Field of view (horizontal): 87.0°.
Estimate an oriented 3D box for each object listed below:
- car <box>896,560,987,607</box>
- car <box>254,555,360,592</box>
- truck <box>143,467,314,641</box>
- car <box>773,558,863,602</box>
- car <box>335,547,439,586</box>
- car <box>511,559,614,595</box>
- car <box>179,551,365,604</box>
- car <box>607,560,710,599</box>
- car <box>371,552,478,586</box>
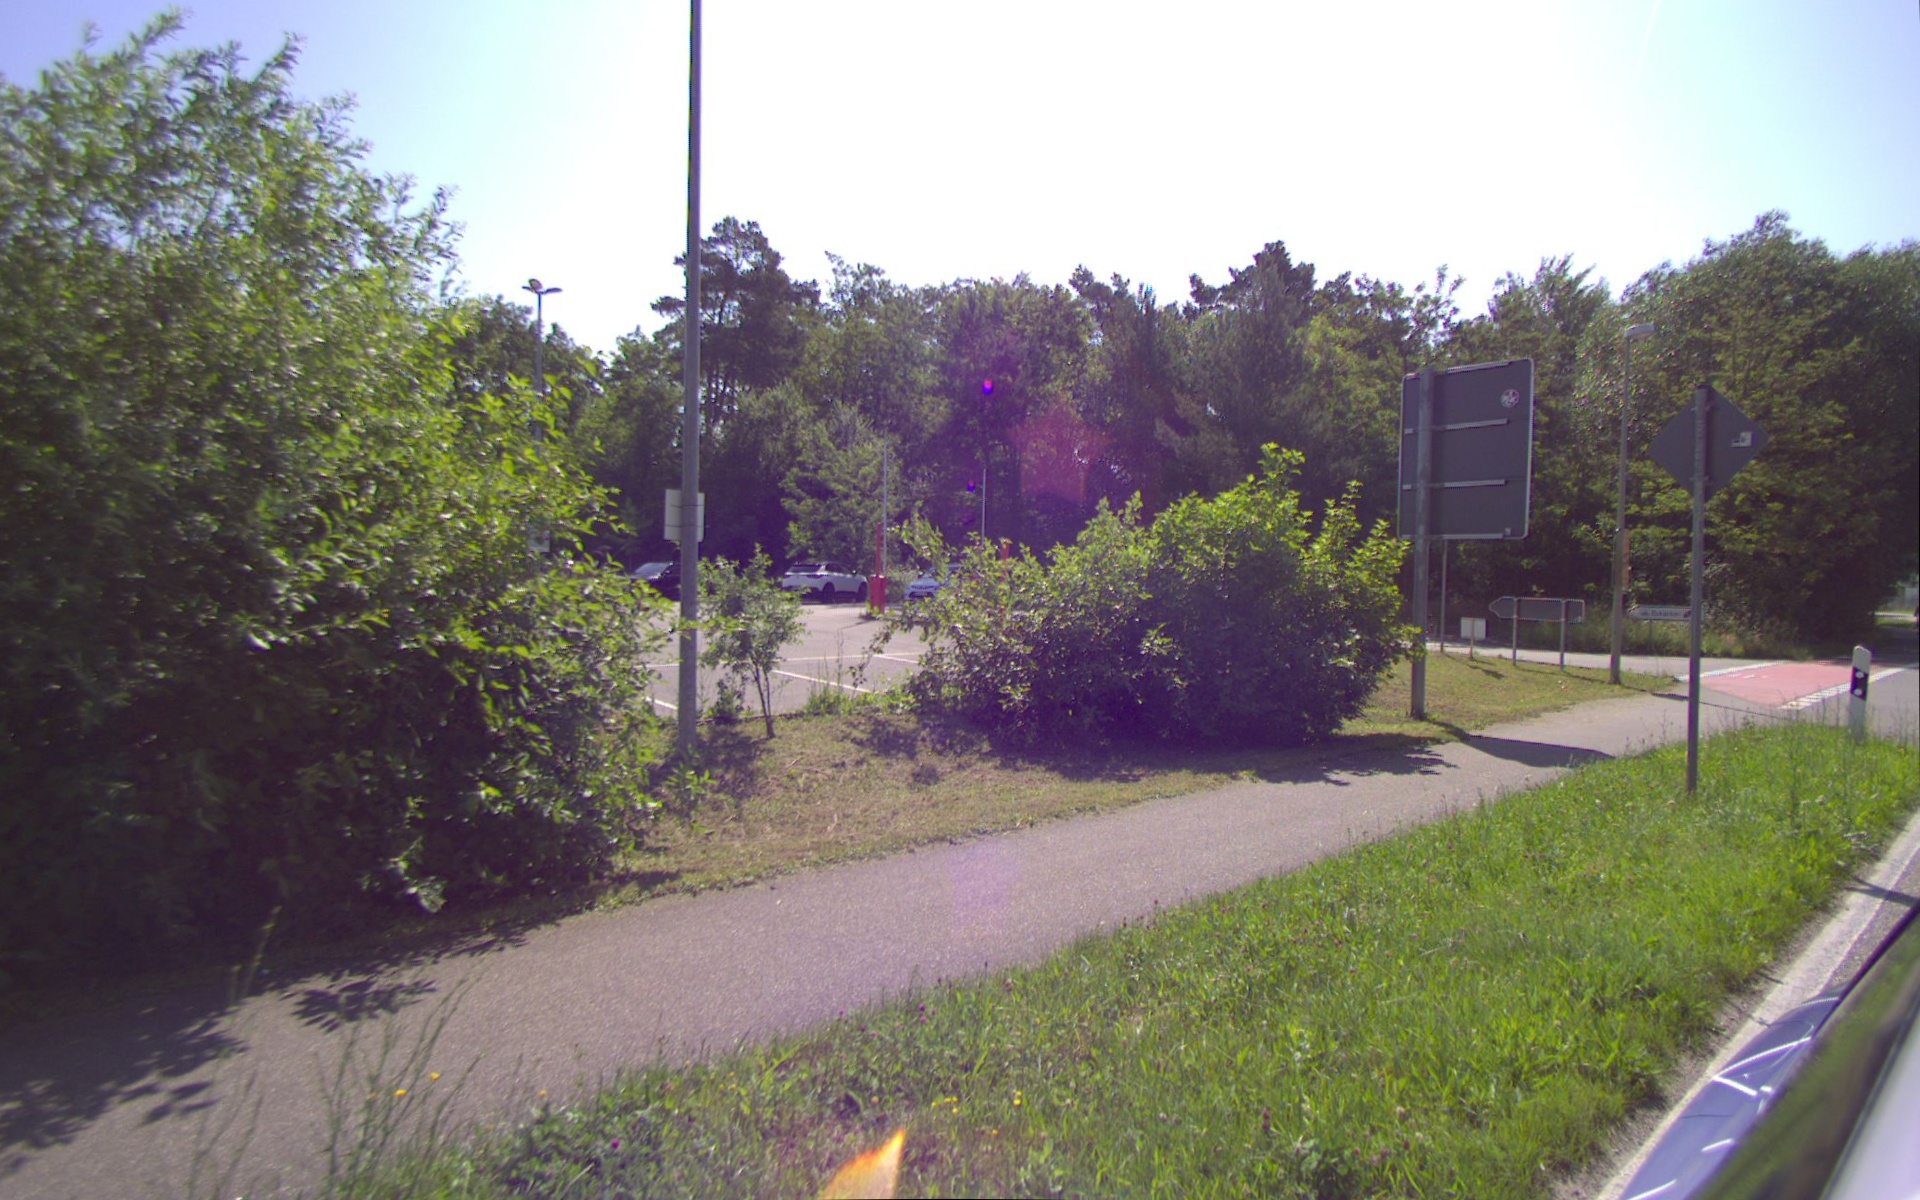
[{"bbox_3d":[-0.585,-0.615,36.844,1.740,1.549,4.342,2,2,22],"label":"car"},{"bbox_3d":[-32.253,-1.302,50.099,2.049,1.732,3.969,2,2,24],"label":"car"},{"bbox_3d":[-13.320,-0.812,18.242,2.164,2.637,5.612,0,2,-39],"label":"truck"},{"bbox_3d":[-5.309,-0.776,38.243,1.740,1.549,3.638,2,2,22],"label":"car"},{"bbox_3d":[-27.457,-1.597,48.627,2.049,1.732,3.969,2,2,24],"label":"car"},{"bbox_3d":[-17.573,-1.026,44.902,2.049,1.504,3.969,2,2,24],"label":"car"},{"bbox_3d":[-21.046,-0.703,31.182,1.975,1.483,4.467,2,2,19],"label":"car"},{"bbox_3d":[-12.501,-0.864,42.210,2.049,1.504,3.969,2,2,24],"label":"car"},{"bbox_3d":[-24.940,-1.441,47.275,1.644,1.504,4.339,2,2,23],"label":"car"}]
